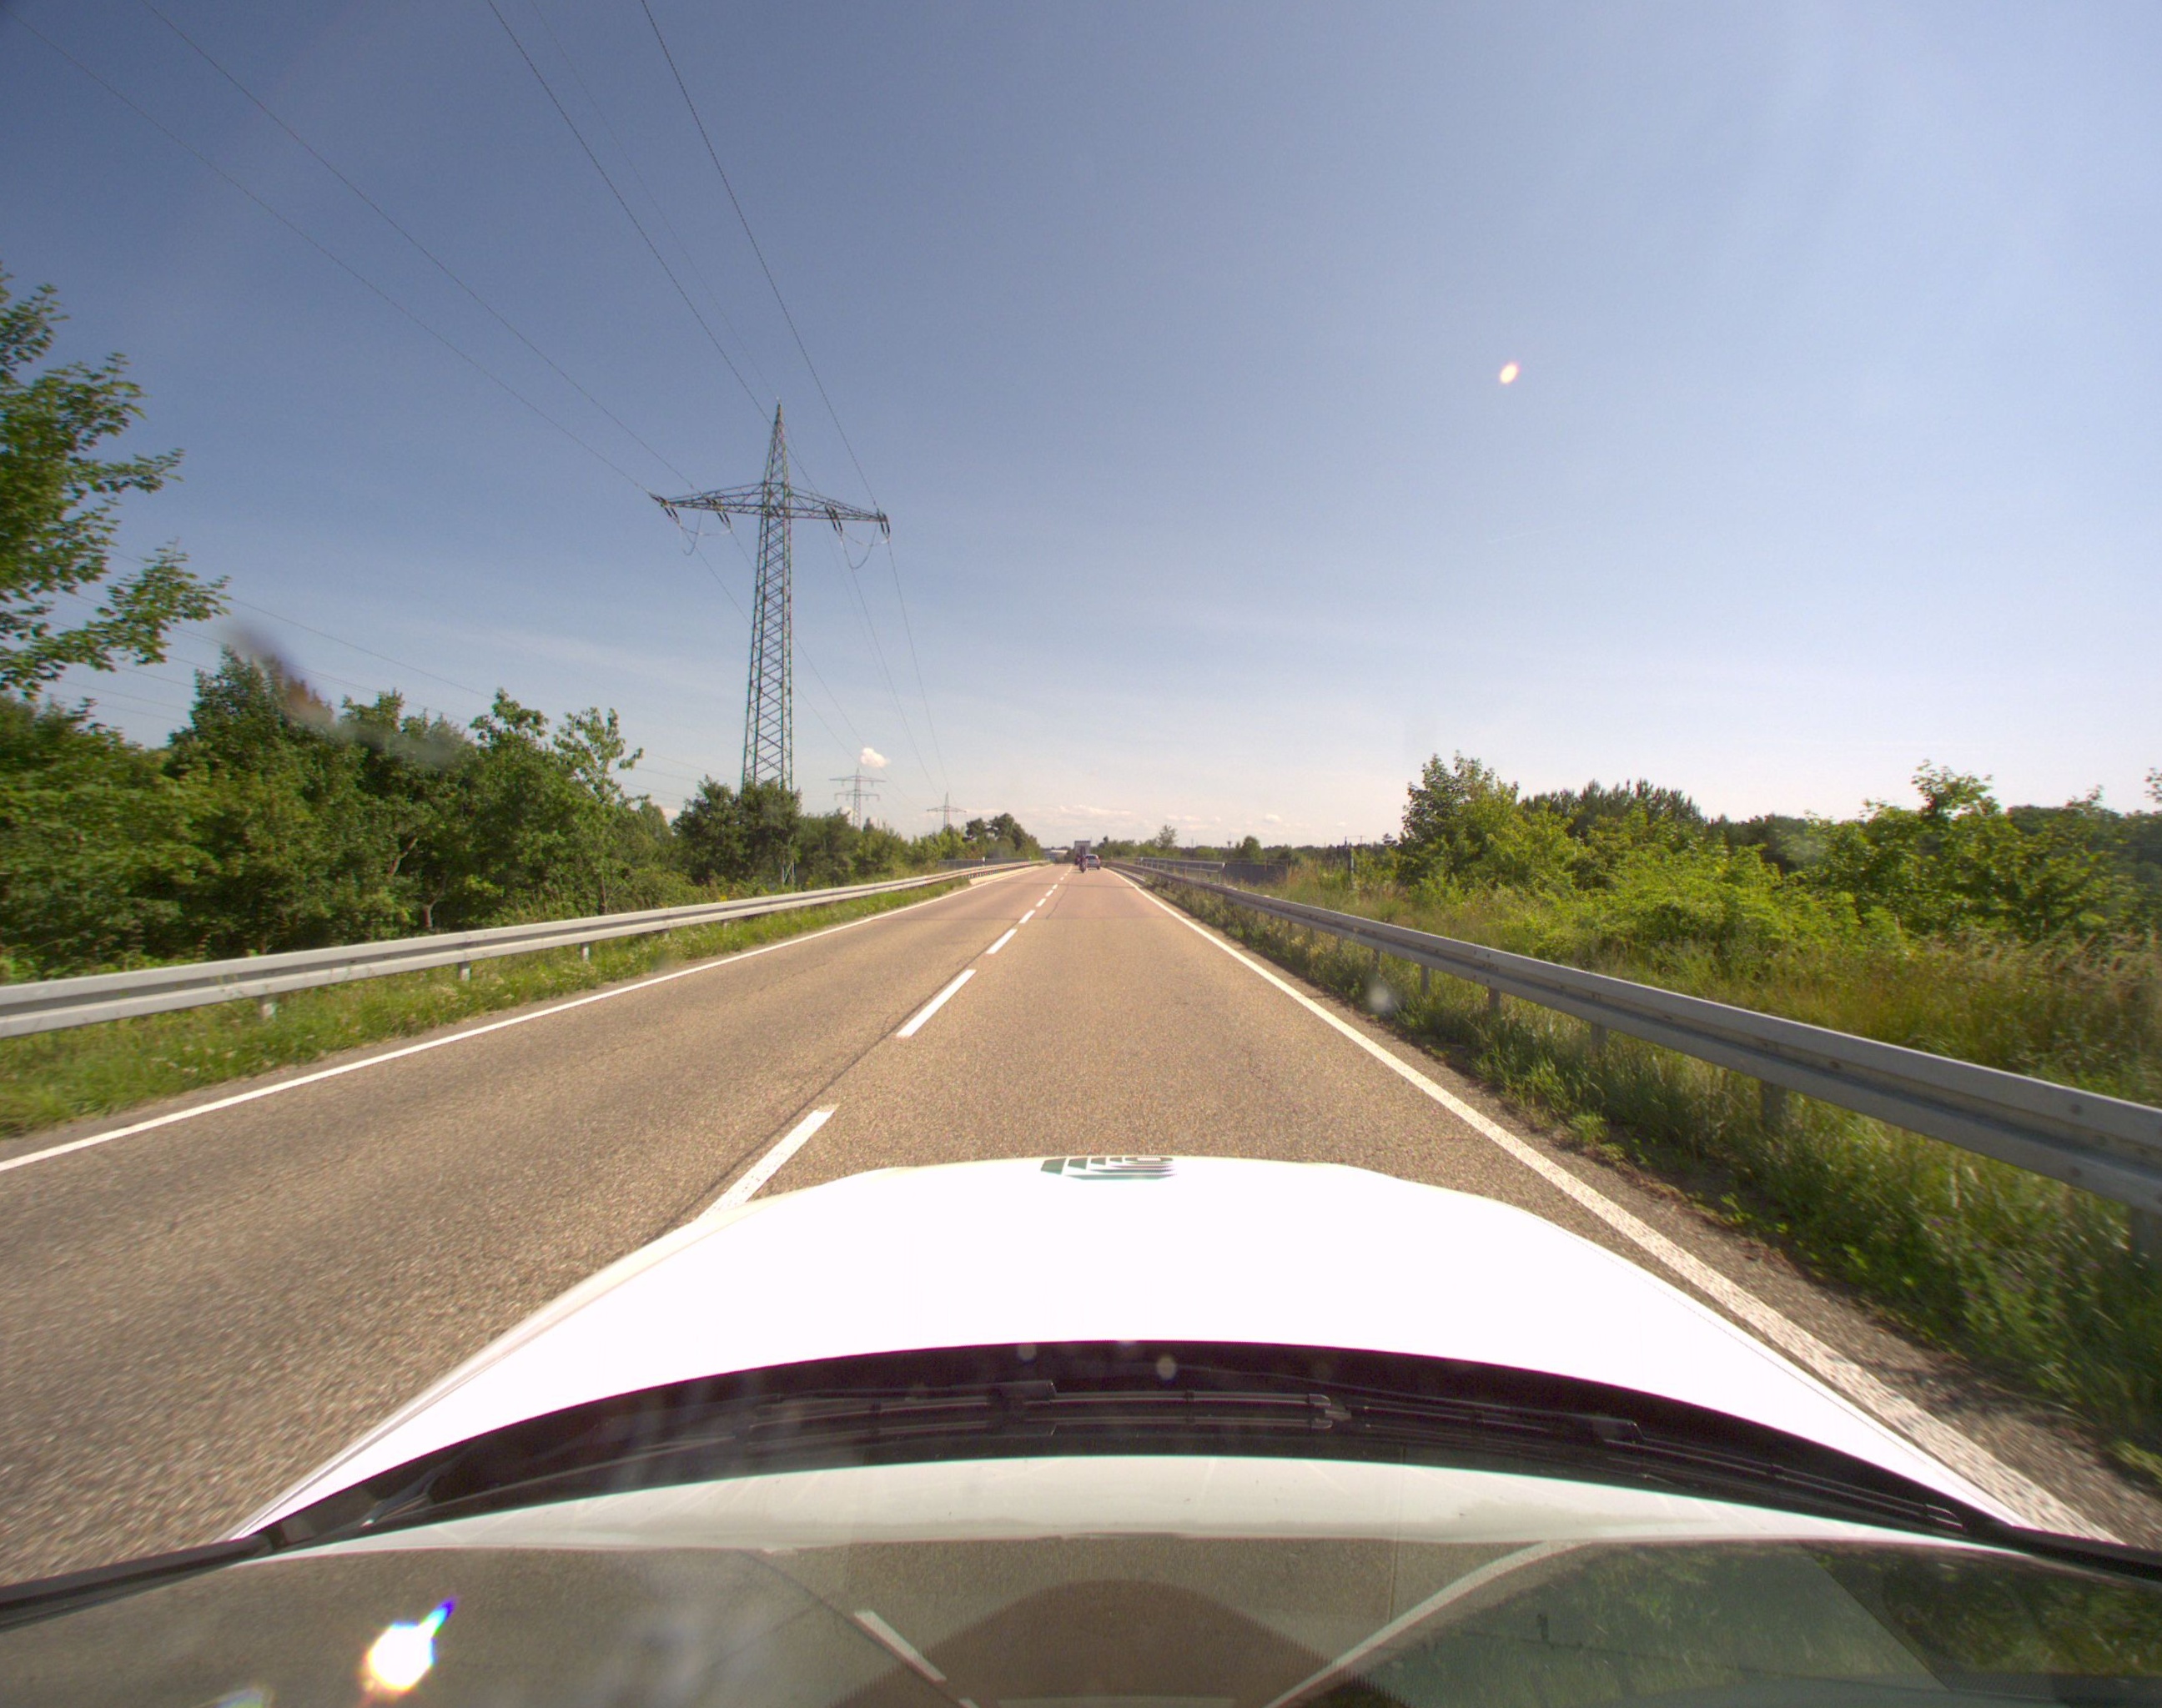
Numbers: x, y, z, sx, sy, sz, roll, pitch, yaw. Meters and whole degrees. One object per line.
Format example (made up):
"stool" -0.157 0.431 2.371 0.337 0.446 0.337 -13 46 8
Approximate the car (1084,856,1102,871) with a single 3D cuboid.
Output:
"car" 1.294 0.997 85.495 1.819 1.451 4.001 0 0 1

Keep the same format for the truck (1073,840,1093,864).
"truck" 0.410 -0.296 138.374 3.230 3.979 9.444 0 0 1

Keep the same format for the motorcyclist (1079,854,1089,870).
"motorcyclist" 0.235 0.676 68.368 0.777 1.325 0.813 0 0 1

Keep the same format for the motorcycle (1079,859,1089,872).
"motorcycle" 0.224 0.949 68.349 0.777 0.975 2.362 0 0 2

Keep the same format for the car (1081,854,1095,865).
"car" 0.929 0.780 111.432 1.859 1.420 4.001 0 0 1
